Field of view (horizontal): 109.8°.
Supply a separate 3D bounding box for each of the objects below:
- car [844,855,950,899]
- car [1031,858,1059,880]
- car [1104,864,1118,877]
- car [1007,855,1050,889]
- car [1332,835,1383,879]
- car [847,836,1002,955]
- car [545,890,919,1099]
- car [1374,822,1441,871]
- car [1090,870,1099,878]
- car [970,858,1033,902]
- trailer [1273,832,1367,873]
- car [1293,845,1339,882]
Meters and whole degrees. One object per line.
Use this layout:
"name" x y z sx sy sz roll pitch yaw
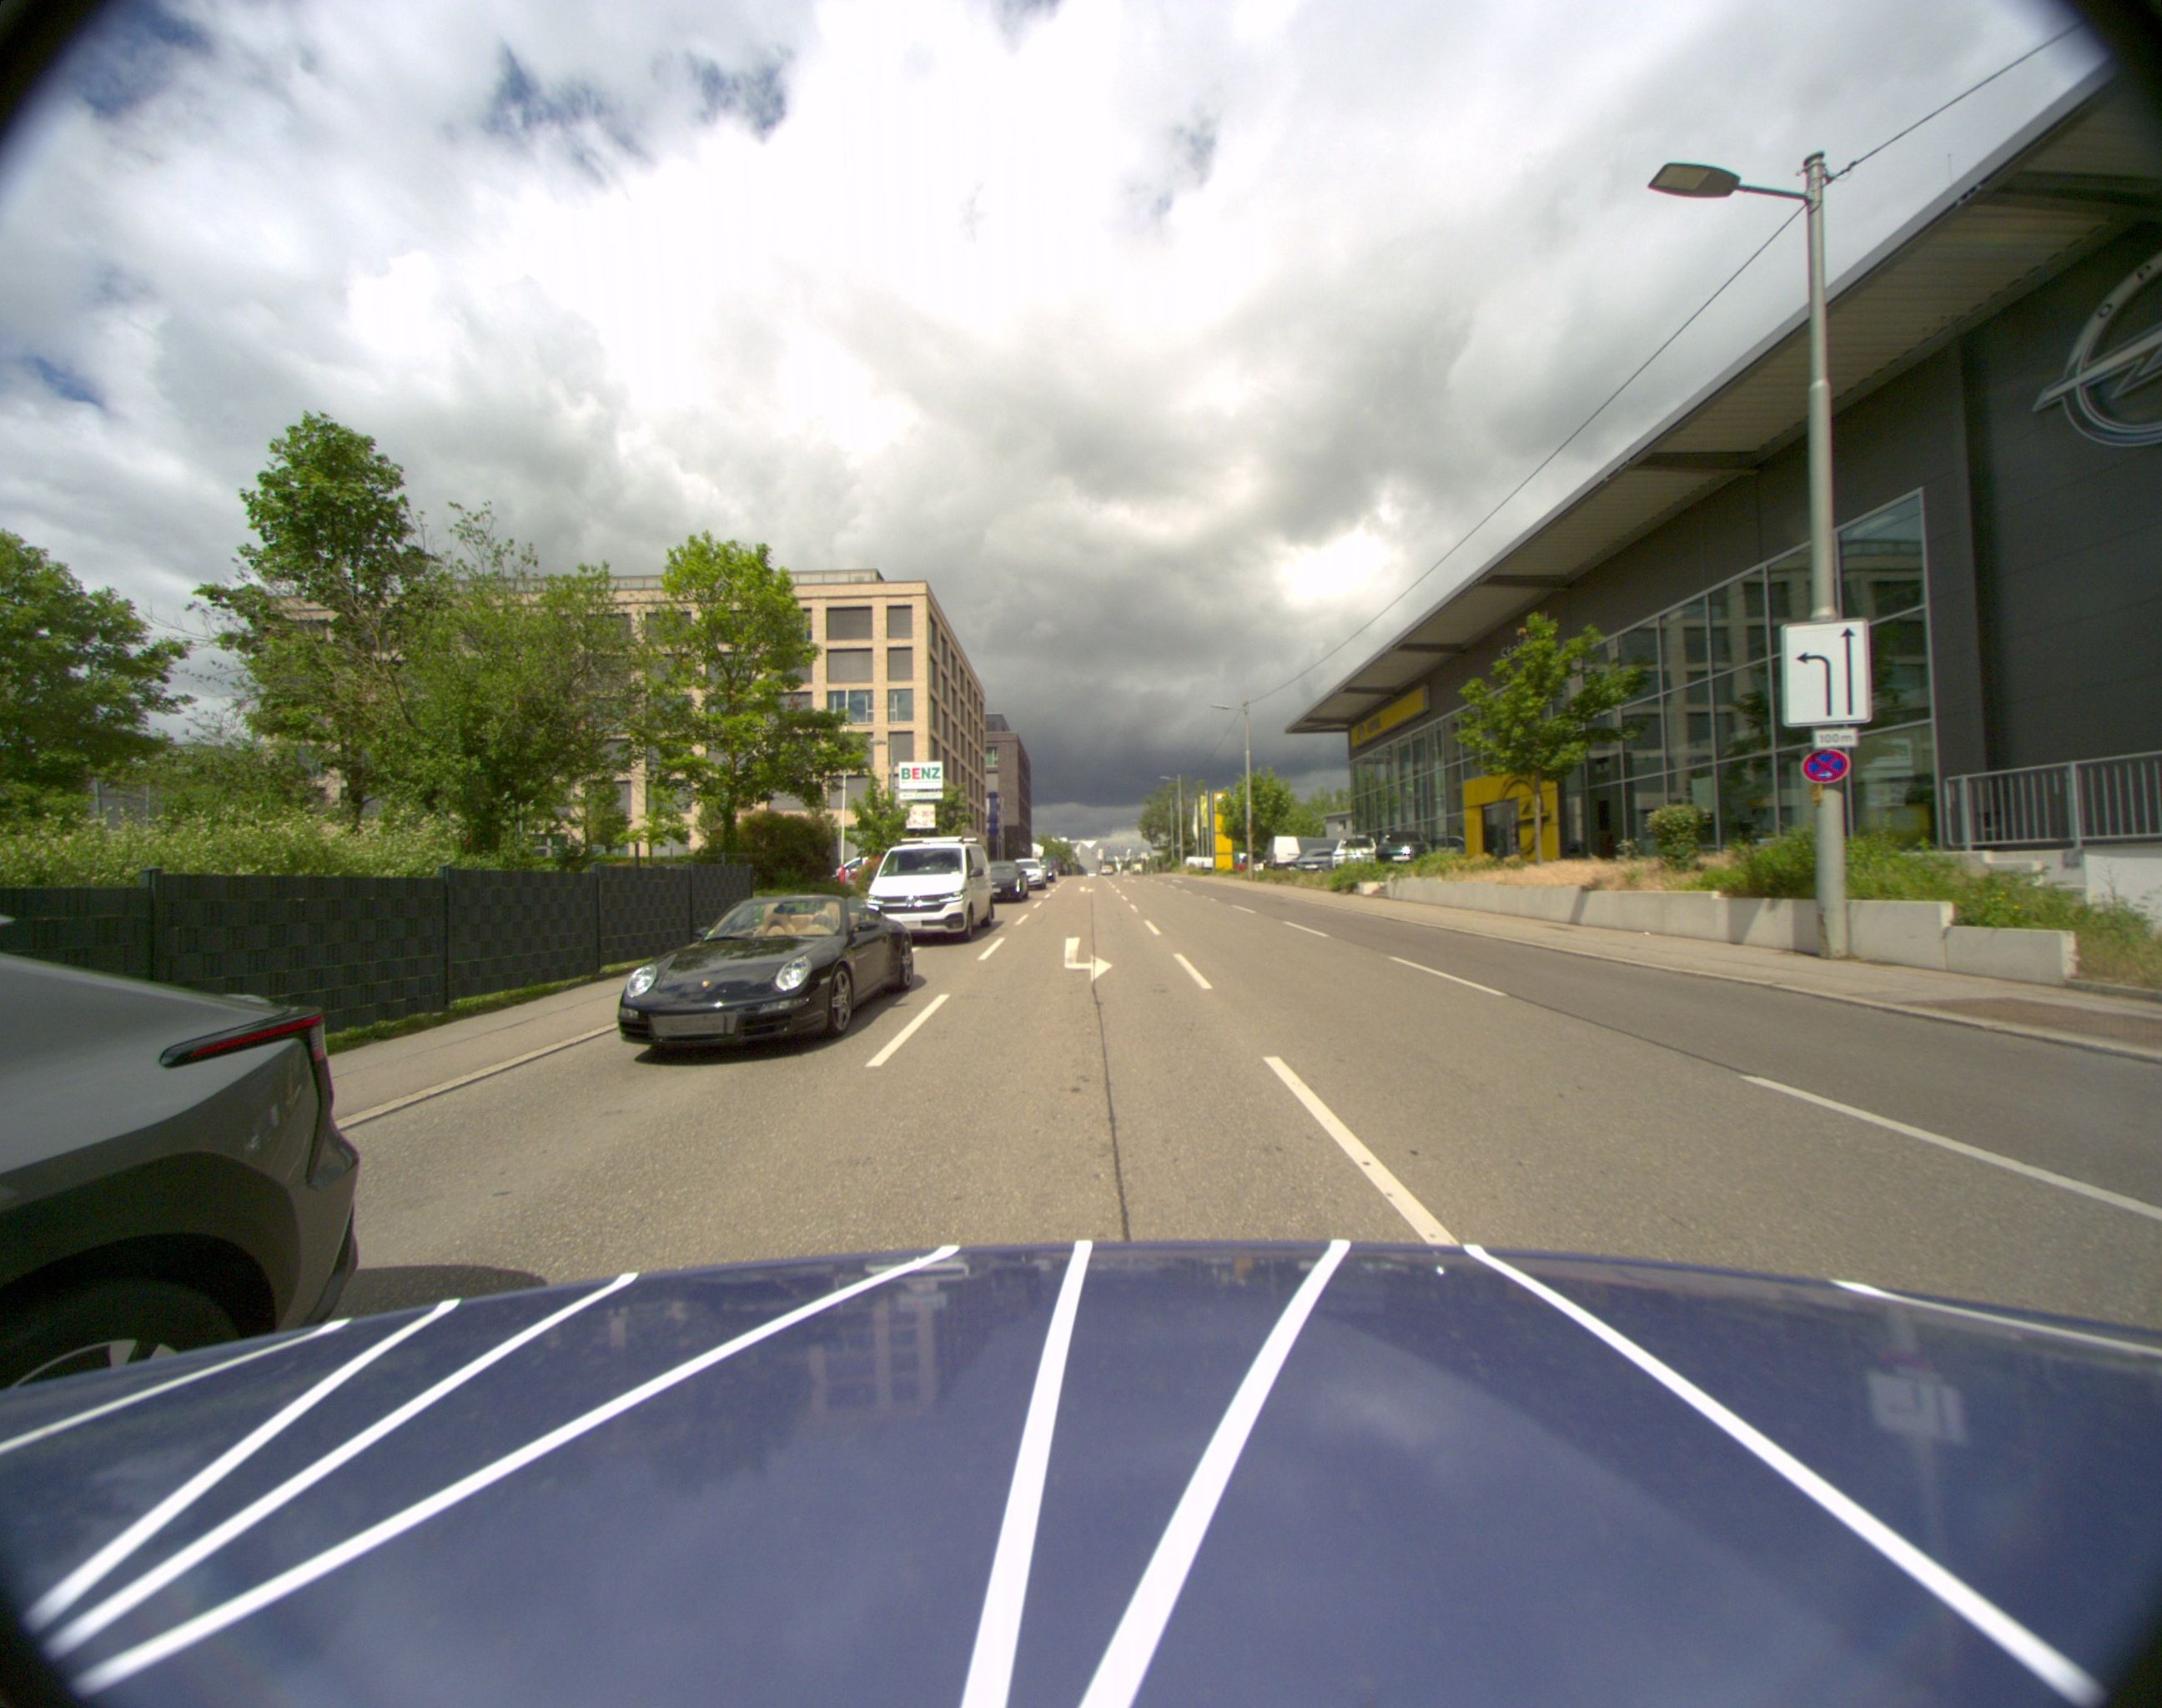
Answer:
"car" -7.629 0.918 31.727 3.998 1.723 1.822 -1 1 -3
"car" -2.432 1.003 51.841 1.662 1.351 4.000 -1 0 1
"car" 4.511 2.482 115.921 1.998 1.731 4.547 -2 0 1
"car" -2.593 0.884 38.421 1.818 1.577 4.000 -1 0 1
"car" 12.168 0.117 33.433 1.995 1.783 4.006 -1 0 21
"car" -3.017 0.725 15.832 2.089 2.037 4.760 -2 0 1
"car" -3.038 1.145 7.693 1.824 1.286 4.038 -2 0 1
"car" 12.336 -0.264 28.923 1.996 1.718 4.005 -1 0 18
"car" 3.103 4.601 175.507 1.998 1.819 4.547 -2 0 2
"car" -2.829 0.903 27.880 1.818 1.454 4.000 -1 0 1
"trailer" 14.451 -0.082 46.167 5.074 2.336 2.000 -1 1 -1
"car" 12.107 0.456 39.007 1.995 1.783 4.006 -1 0 21
